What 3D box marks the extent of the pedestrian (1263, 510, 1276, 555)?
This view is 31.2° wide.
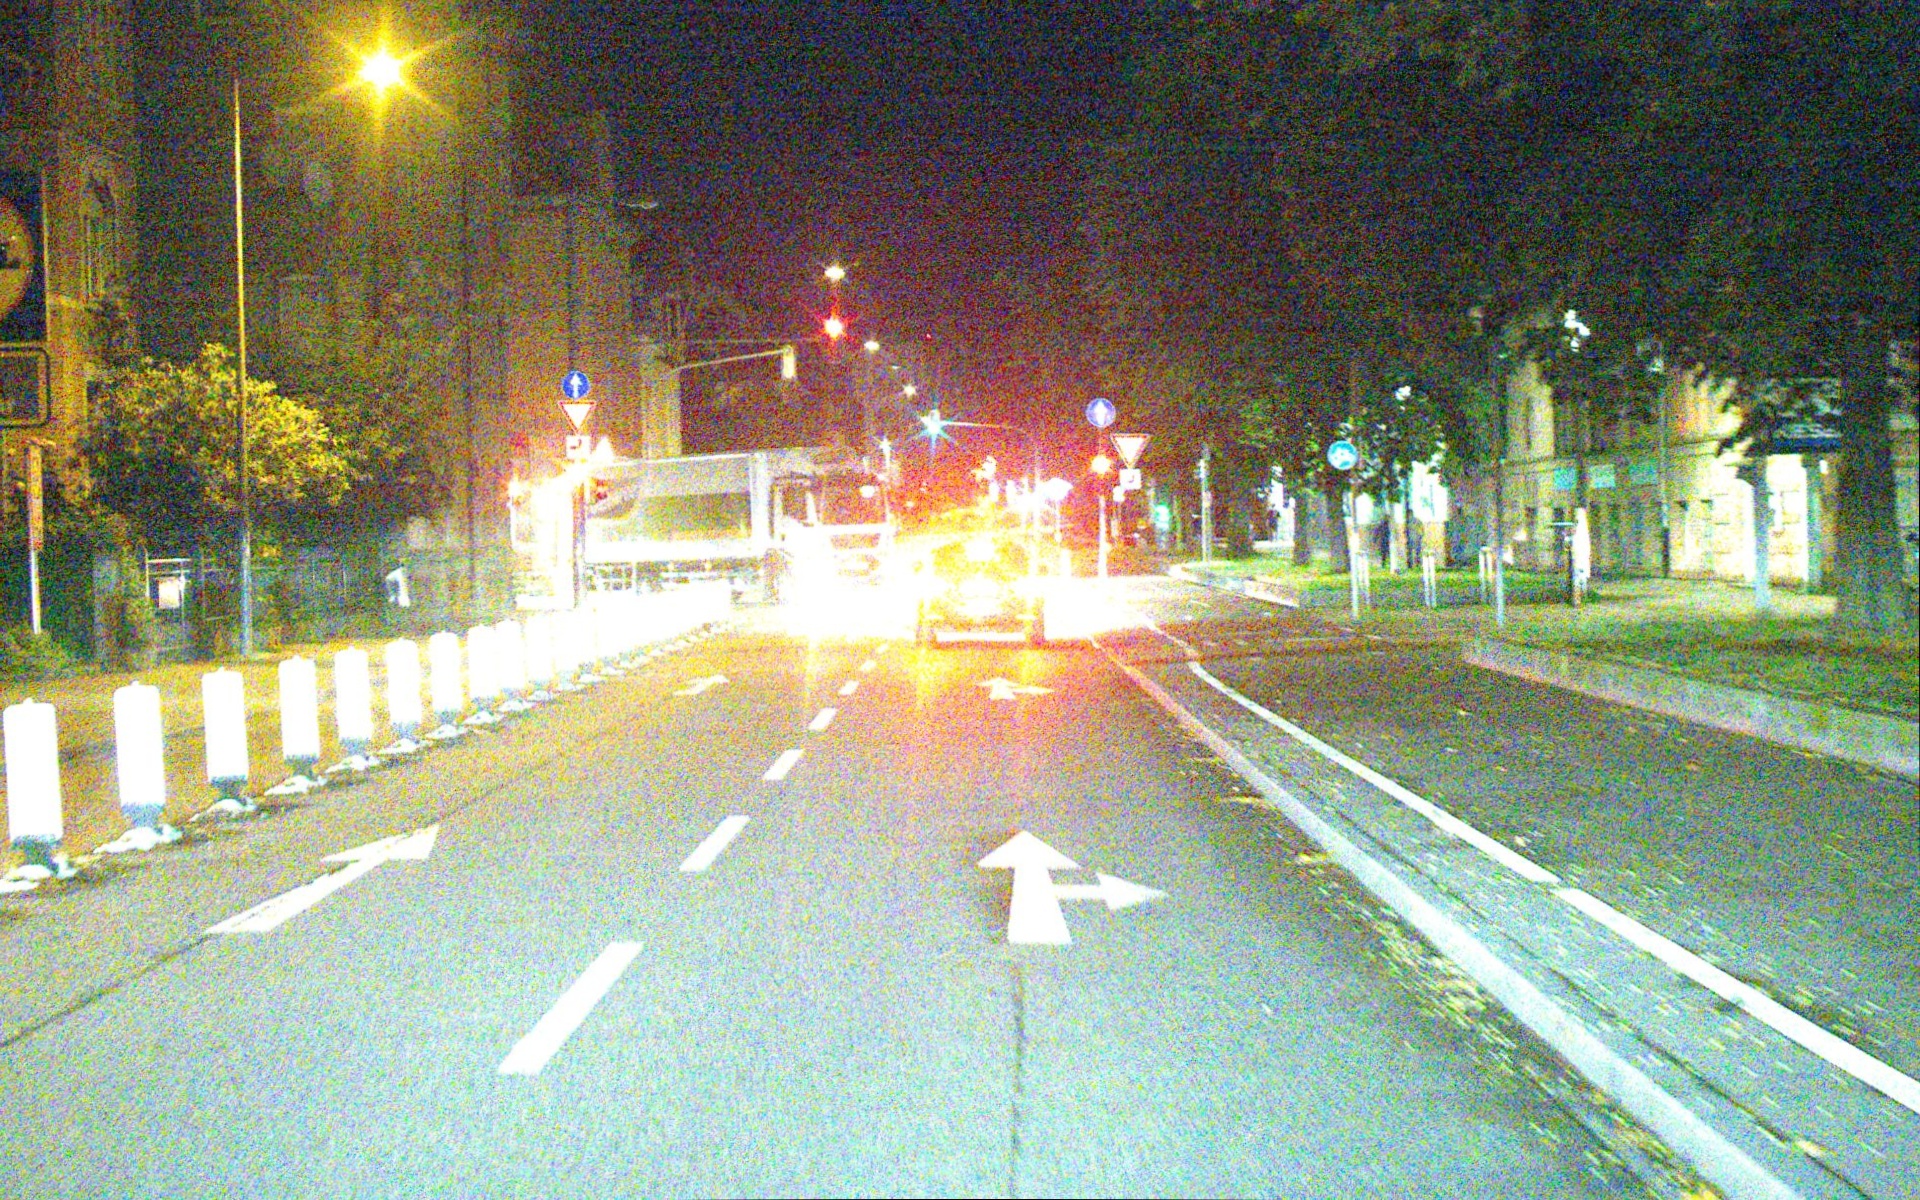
[{"bbox_3d":[14.056,-3.078,156.009,0.487,2.007,0.551,-2,1,0],"label":"pedestrian"}]

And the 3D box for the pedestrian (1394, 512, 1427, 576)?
[{"bbox_3d":[12.614,-1.577,96.318,0.738,1.763,0.907,-2,1,0],"label":"pedestrian"}]

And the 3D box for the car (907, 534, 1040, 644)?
[{"bbox_3d":[0.216,-0.196,49.251,1.805,1.489,4.730,1,1,1],"label":"car"}]

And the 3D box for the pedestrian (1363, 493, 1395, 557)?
[{"bbox_3d":[11.719,-2.102,96.187,0.714,1.763,0.907,-2,1,0],"label":"pedestrian"}]

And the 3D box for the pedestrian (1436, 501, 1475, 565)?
[{"bbox_3d":[13.892,-1.885,96.417,0.901,1.763,0.907,-2,1,0],"label":"pedestrian"}]

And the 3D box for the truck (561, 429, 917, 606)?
[{"bbox_3d":[-5.307,-1.852,80.200,2.756,3.705,10.109,-4,1,-39],"label":"truck"}]

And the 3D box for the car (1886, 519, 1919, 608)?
[{"bbox_3d":[15.941,-0.584,54.009,1.513,1.390,4.482,-2,1,0],"label":"car"}]
